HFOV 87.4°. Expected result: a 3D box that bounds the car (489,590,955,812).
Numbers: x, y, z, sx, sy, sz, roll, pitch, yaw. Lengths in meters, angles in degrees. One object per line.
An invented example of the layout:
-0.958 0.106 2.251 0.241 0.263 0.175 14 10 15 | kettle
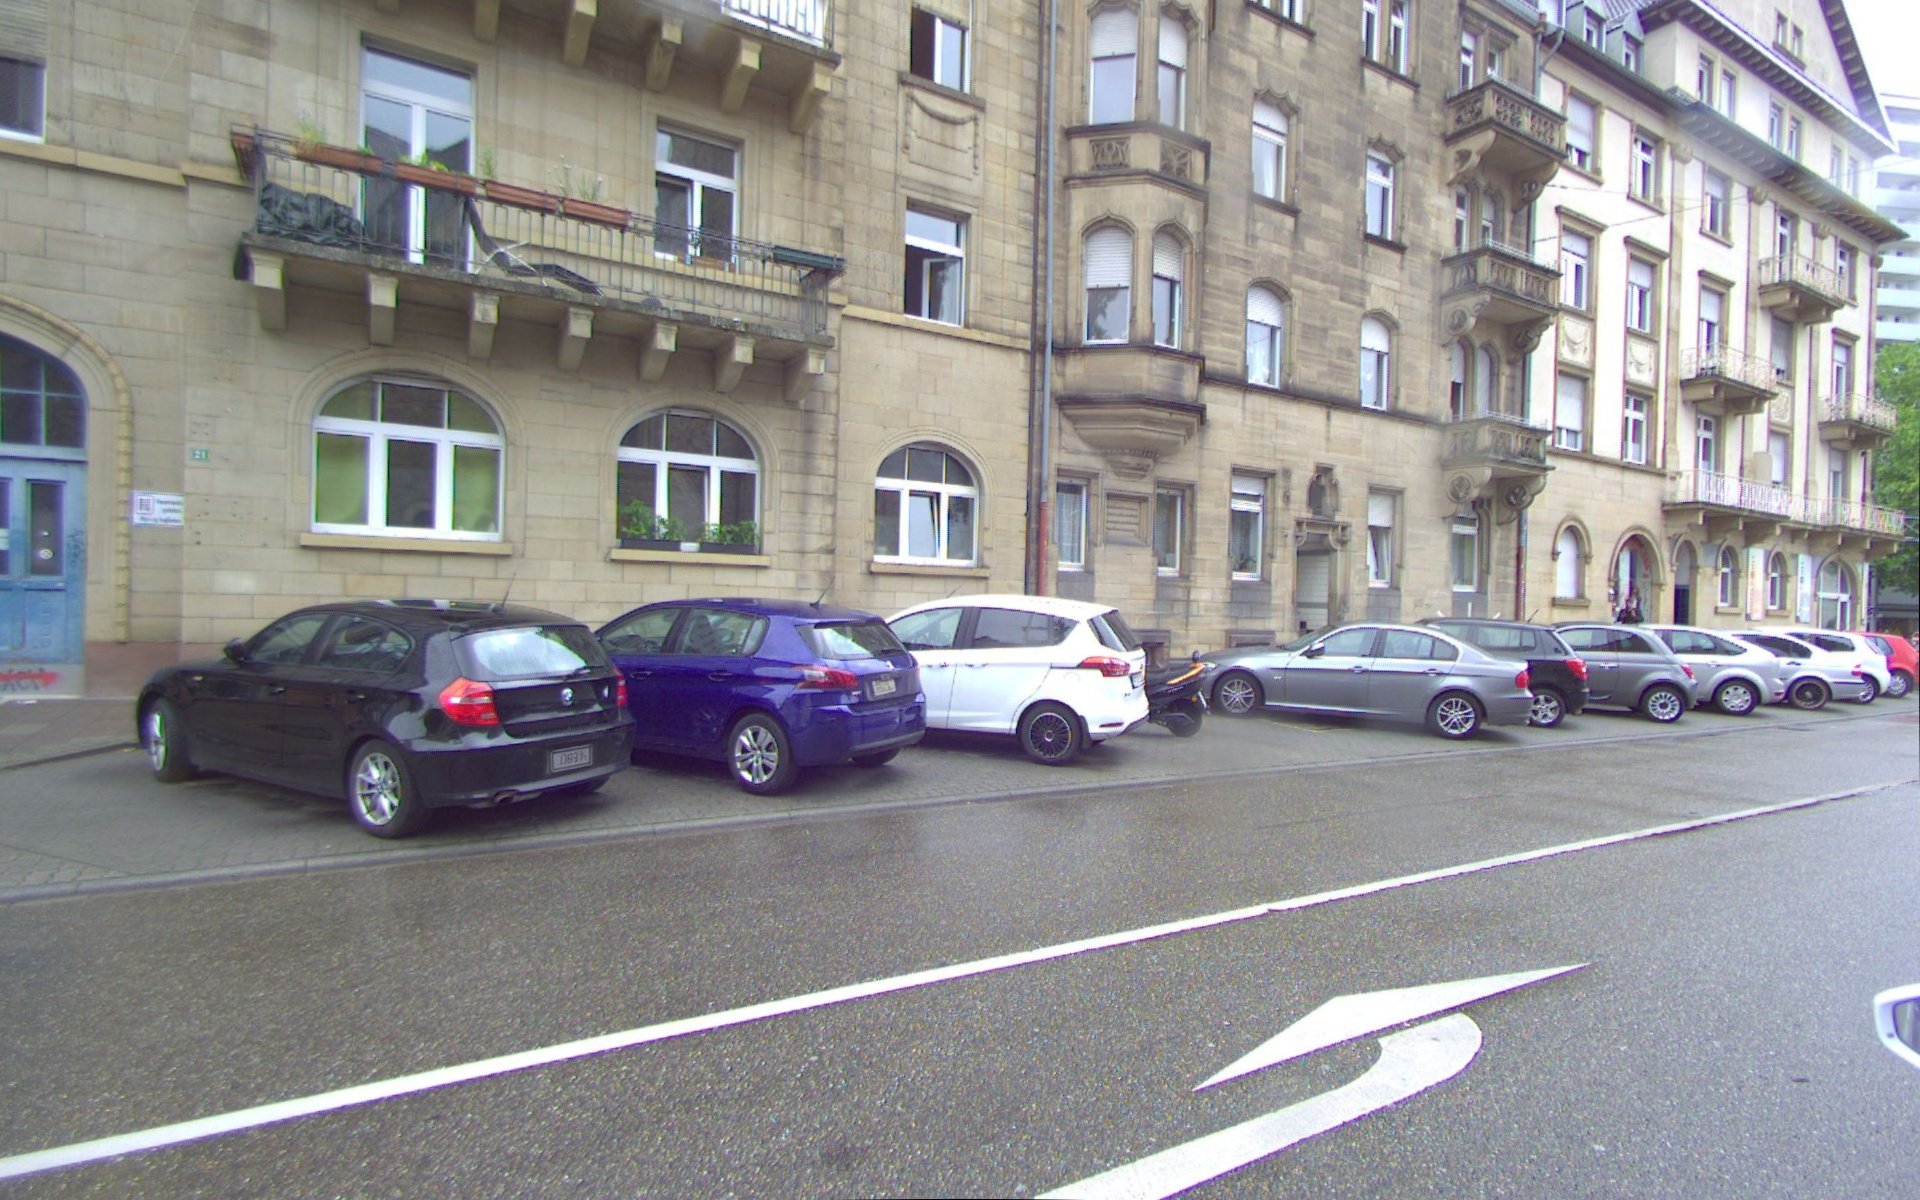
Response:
-2.210 0.746 9.086 3.972 1.594 1.795 1 -1 31 | car

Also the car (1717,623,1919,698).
20.202 1.379 23.715 3.337 1.578 1.705 1 0 21 | car

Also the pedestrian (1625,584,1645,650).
19.152 0.488 28.500 0.343 1.846 0.364 2 -1 -32 | pedestrian

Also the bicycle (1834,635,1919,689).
23.483 1.558 25.601 0.516 1.283 1.754 1 -1 -31 | bicycle

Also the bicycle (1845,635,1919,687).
24.455 1.587 26.354 0.492 1.283 1.801 1 -1 -31 | bicycle

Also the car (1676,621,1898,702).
17.934 1.287 21.966 3.337 1.578 1.705 1 0 21 | car

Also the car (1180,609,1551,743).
5.396 0.959 13.866 4.457 1.565 1.689 1 0 17 | car

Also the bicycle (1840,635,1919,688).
23.938 1.563 25.894 0.492 1.283 1.801 1 -1 -31 | bicycle

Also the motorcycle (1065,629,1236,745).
2.245 0.989 11.860 1.837 1.177 0.633 3 1 23 | motorcycle

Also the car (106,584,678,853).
-4.250 0.687 7.471 3.969 1.532 1.797 1 -1 27 | car

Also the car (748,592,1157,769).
-0.041 0.746 10.677 3.964 1.576 1.799 1 -1 20 | car

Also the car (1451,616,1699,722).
10.349 1.104 17.170 3.337 1.578 1.652 1 0 21 | car

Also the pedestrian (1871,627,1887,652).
58.831 2.507 64.299 0.631 1.550 0.443 1 0 -4 | pedestrian

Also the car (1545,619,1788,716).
12.948 1.192 18.650 3.337 1.578 1.705 1 0 21 | car

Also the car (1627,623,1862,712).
15.656 1.292 20.250 3.337 1.578 1.705 1 0 21 | car

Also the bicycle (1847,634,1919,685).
25.190 1.596 27.121 0.601 1.283 1.754 1 -1 -31 | bicycle

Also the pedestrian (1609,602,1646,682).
17.402 1.082 26.183 0.647 2.040 0.565 1 0 -30 | pedestrian

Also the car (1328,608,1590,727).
7.655 0.980 15.740 3.484 1.619 1.605 1 0 21 | car

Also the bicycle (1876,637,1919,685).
26.114 1.662 27.247 0.601 1.283 1.754 1 -1 -31 | bicycle
